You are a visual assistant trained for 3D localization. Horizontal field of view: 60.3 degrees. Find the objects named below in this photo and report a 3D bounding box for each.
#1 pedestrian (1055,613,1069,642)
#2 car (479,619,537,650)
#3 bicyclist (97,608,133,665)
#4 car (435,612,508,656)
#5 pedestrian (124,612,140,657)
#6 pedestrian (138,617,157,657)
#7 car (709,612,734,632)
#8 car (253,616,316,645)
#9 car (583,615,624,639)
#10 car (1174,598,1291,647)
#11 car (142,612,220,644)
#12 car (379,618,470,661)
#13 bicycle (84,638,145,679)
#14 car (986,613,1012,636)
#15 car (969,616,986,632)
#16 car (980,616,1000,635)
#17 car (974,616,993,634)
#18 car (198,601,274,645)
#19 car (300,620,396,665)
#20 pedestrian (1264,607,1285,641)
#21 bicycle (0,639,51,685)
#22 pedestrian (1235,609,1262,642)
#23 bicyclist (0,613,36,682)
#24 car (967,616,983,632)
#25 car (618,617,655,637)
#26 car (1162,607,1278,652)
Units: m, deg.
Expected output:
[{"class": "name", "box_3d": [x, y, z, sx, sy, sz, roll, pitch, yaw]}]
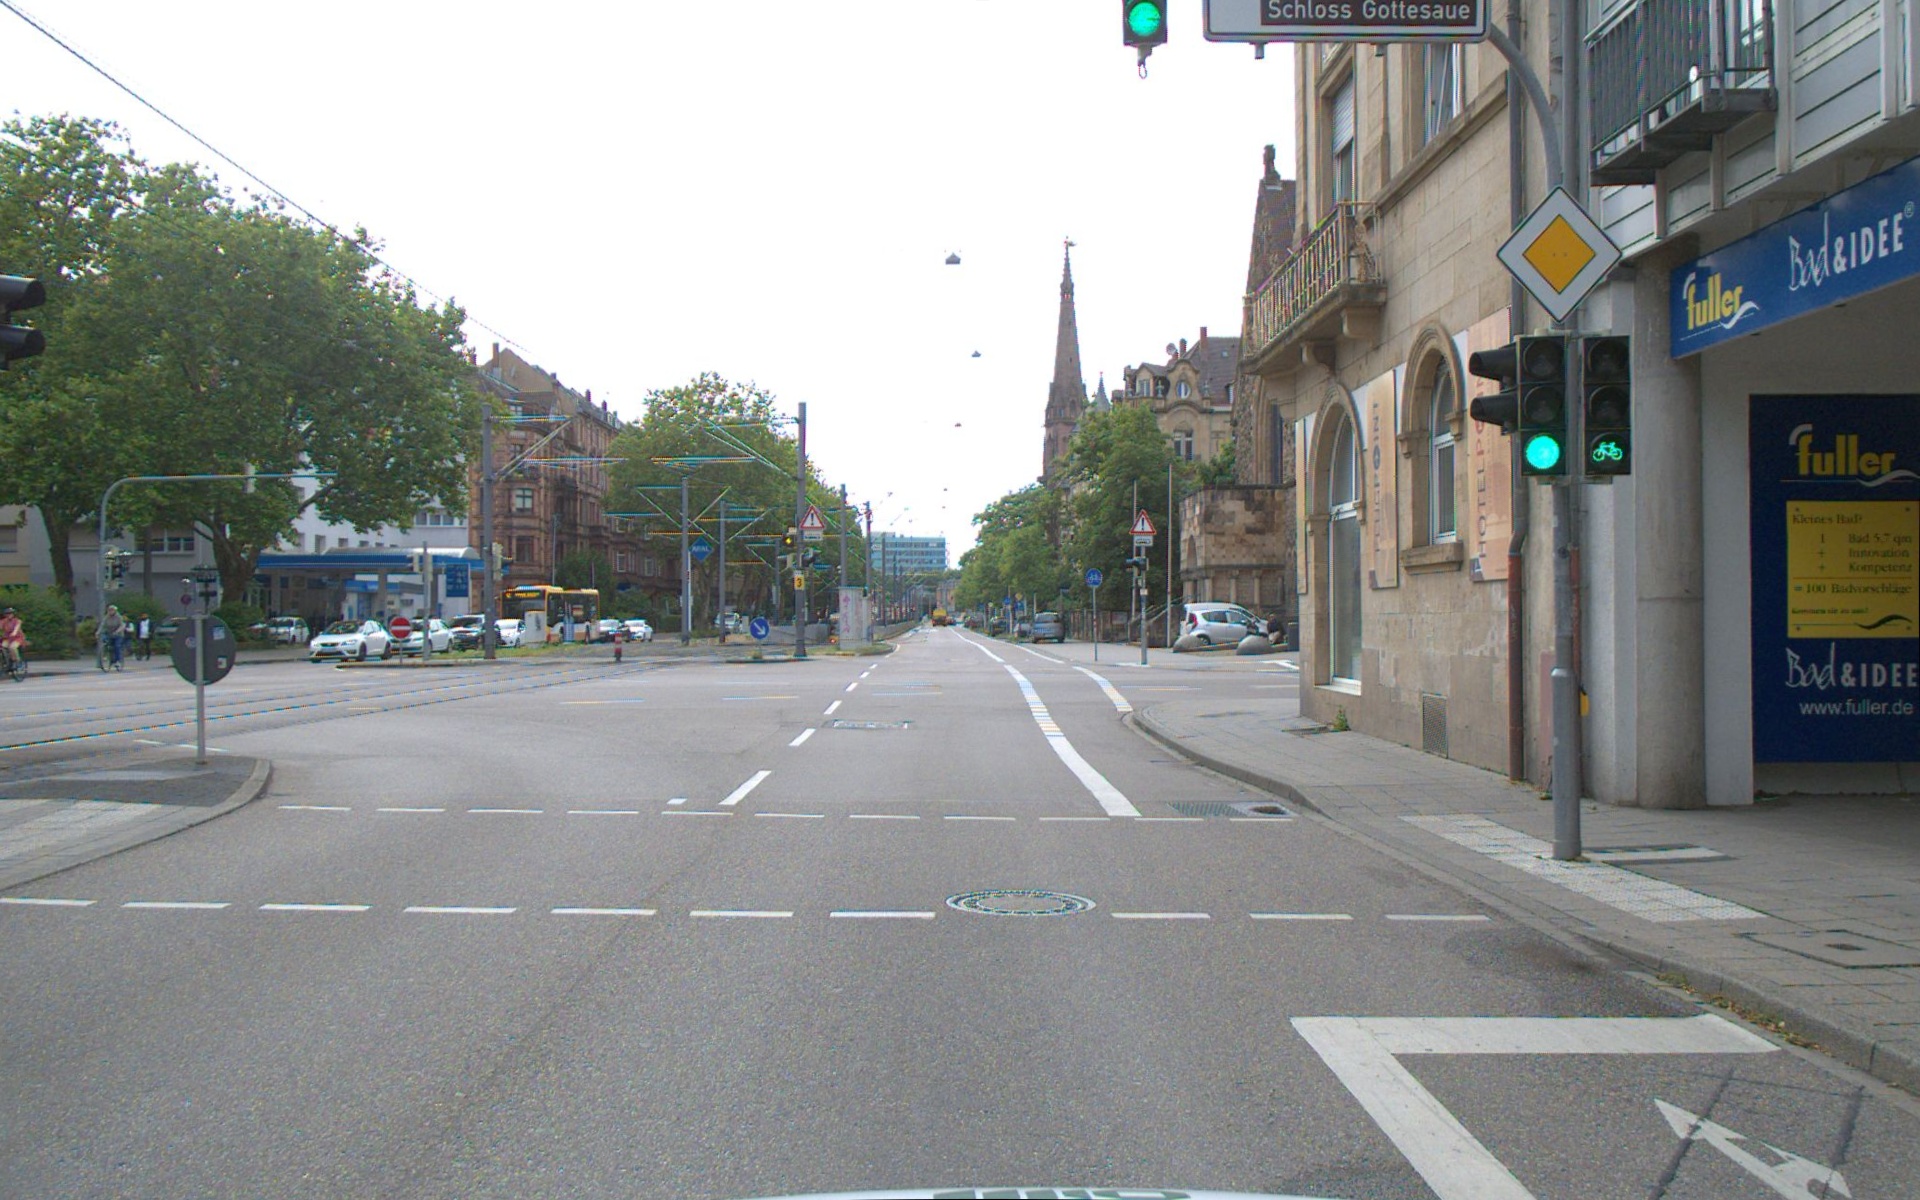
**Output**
[{"class": "pedestrian", "box_3d": [6.080, 1.644, 98.748, 0.760, 1.676, 0.799, 1, -1, 5]}, {"class": "car", "box_3d": [-21.474, 1.631, 78.675, 1.667, 1.422, 3.890, 1, 0, 0]}, {"class": "bicyclist", "box_3d": [-24.152, 1.050, 47.276, 0.571, 1.589, 0.756, -2, -1, -1]}, {"class": "car", "box_3d": [-21.330, 1.467, 72.378, 1.667, 1.814, 5.149, 1, 0, 0]}, {"class": "pedestrian", "box_3d": [-28.068, 1.161, 56.065, 0.354, 1.505, 0.373, 0, -1, -7]}, {"class": "pedestrian", "box_3d": [-27.614, 1.240, 56.232, 0.446, 1.349, 0.469, 0, -1, -7]}, {"class": "car", "box_3d": [-21.428, 1.956, 148.857, 1.667, 1.742, 3.890, 1, -1, 0]}, {"class": "car", "box_3d": [-32.798, 1.471, 80.372, 1.667, 1.382, 3.403, 1, -1, 0]}, {"class": "car", "box_3d": [-21.828, 1.659, 101.478, 1.667, 1.382, 3.890, 1, 0, 0]}, {"class": "car", "box_3d": [11.213, 0.933, 68.244, 4.517, 1.914, 1.662, 1, -1, -1]}, {"class": "car", "box_3d": [-37.931, 1.333, 80.620, 1.953, 1.492, 3.999, 0, 0, -1]}, {"class": "car", "box_3d": [-21.191, 1.531, 65.725, 1.803, 1.552, 5.701, 1, 0, -1]}, {"class": "bicycle", "box_3d": [-24.102, 1.661, 47.181, 0.712, 1.083, 1.992, -2, -1, -1]}, {"class": "car", "box_3d": [3.204, 2.003, 135.976, 1.953, 1.852, 3.999, 0, 0, -1]}, {"class": "car", "box_3d": [2.248, 2.991, 210.377, 1.953, 1.959, 3.998, 1, -1, -2]}, {"class": "car", "box_3d": [3.082, 2.602, 172.197, 1.953, 1.915, 3.999, 0, 0, -1]}, {"class": "car", "box_3d": [2.709, 2.850, 190.650, 1.953, 2.049, 3.998, 1, -1, -2]}, {"class": "car", "box_3d": [-35.182, 1.096, 80.497, 1.953, 2.049, 3.999, -1, 0, -1]}, {"class": "car", "box_3d": [-21.571, 1.481, 58.472, 1.804, 1.473, 4.412, 1, 0, -1]}, {"class": "pedestrian", "box_3d": [11.746, 0.881, 61.751, 0.721, 1.250, 1.063, 1, -1, 14]}, {"class": "bicycle", "box_3d": [-23.414, 1.543, 40.982, 0.712, 1.083, 1.992, -2, -1, -1]}, {"class": "pedestrian", "box_3d": [10.609, 0.934, 60.892, 0.721, 1.212, 1.493, 1, -1, -1]}, {"class": "bicyclist", "box_3d": [-23.464, 1.163, 40.836, 0.691, 1.666, 0.994, -2, -1, -2]}, {"class": "car", "box_3d": [1.948, 3.110, 218.040, 1.953, 2.049, 3.998, 1, -1, -2]}, {"class": "car", "box_3d": [-21.316, 1.780, 109.075, 1.667, 1.242, 3.890, 1, 0, 0]}, {"class": "car", "box_3d": [10.165, 1.130, 64.756, 4.260, 1.665, 1.662, 1, -1, -1]}]
